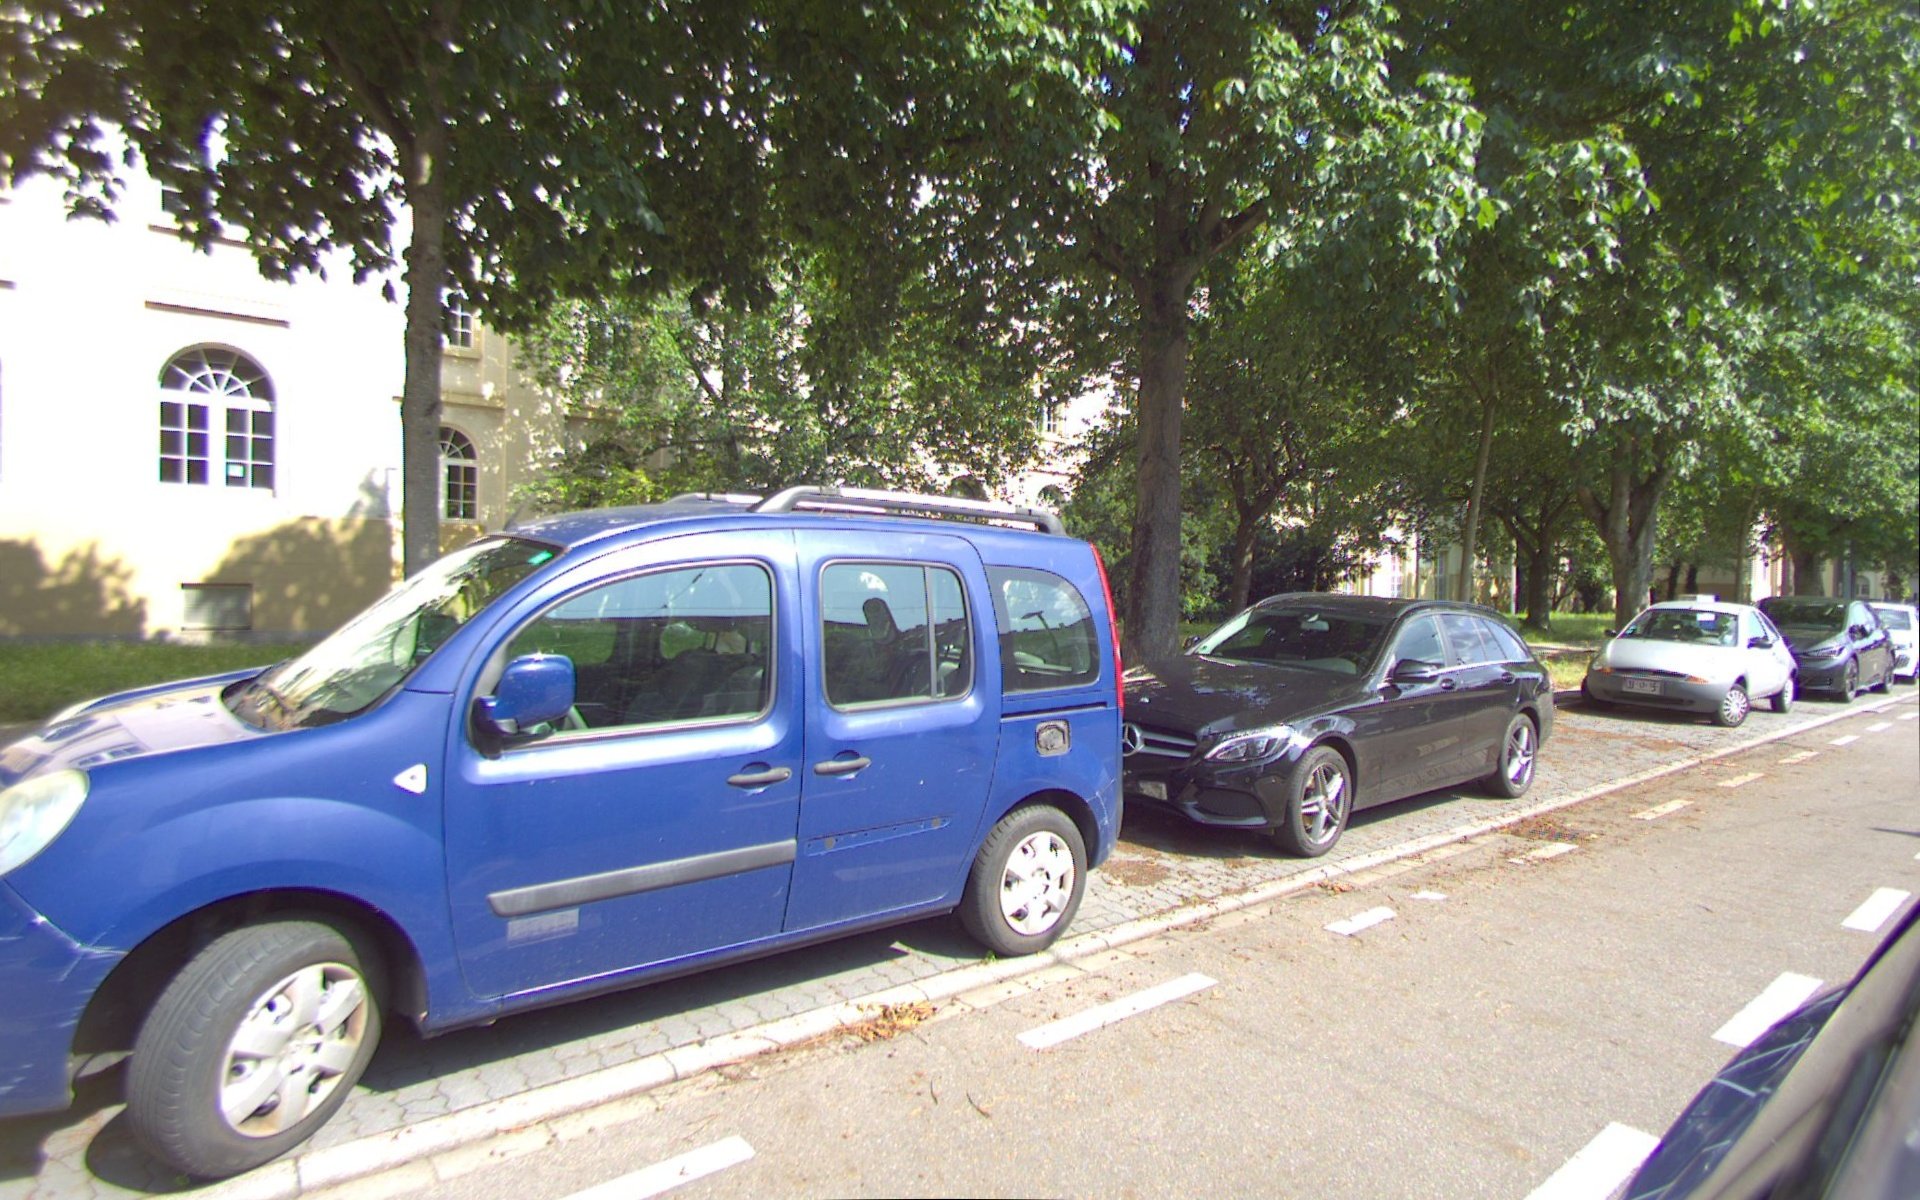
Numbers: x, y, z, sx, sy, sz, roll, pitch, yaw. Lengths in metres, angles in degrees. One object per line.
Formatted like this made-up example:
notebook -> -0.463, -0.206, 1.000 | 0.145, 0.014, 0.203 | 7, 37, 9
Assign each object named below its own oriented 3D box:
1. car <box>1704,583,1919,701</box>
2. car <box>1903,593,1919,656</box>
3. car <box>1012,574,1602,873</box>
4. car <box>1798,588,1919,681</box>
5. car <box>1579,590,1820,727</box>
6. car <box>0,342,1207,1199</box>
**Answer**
car -> 13.839, 0.584, 16.336 | 4.591, 1.603, 1.730 | 0, 2, -38
car -> 24.809, 0.621, 25.159 | 3.497, 1.478, 1.559 | -1, 5, -41
car -> 2.786, 0.639, 7.496 | 4.711, 1.459, 1.922 | 1, 3, -40
car -> 18.082, 0.604, 19.835 | 4.179, 1.542, 1.839 | 0, 3, -41
car -> 9.625, 0.645, 13.099 | 3.532, 1.462, 1.595 | 0, 3, -38
car -> -1.123, 0.399, 3.957 | 4.106, 1.919, 1.828 | 1, 2, -37
